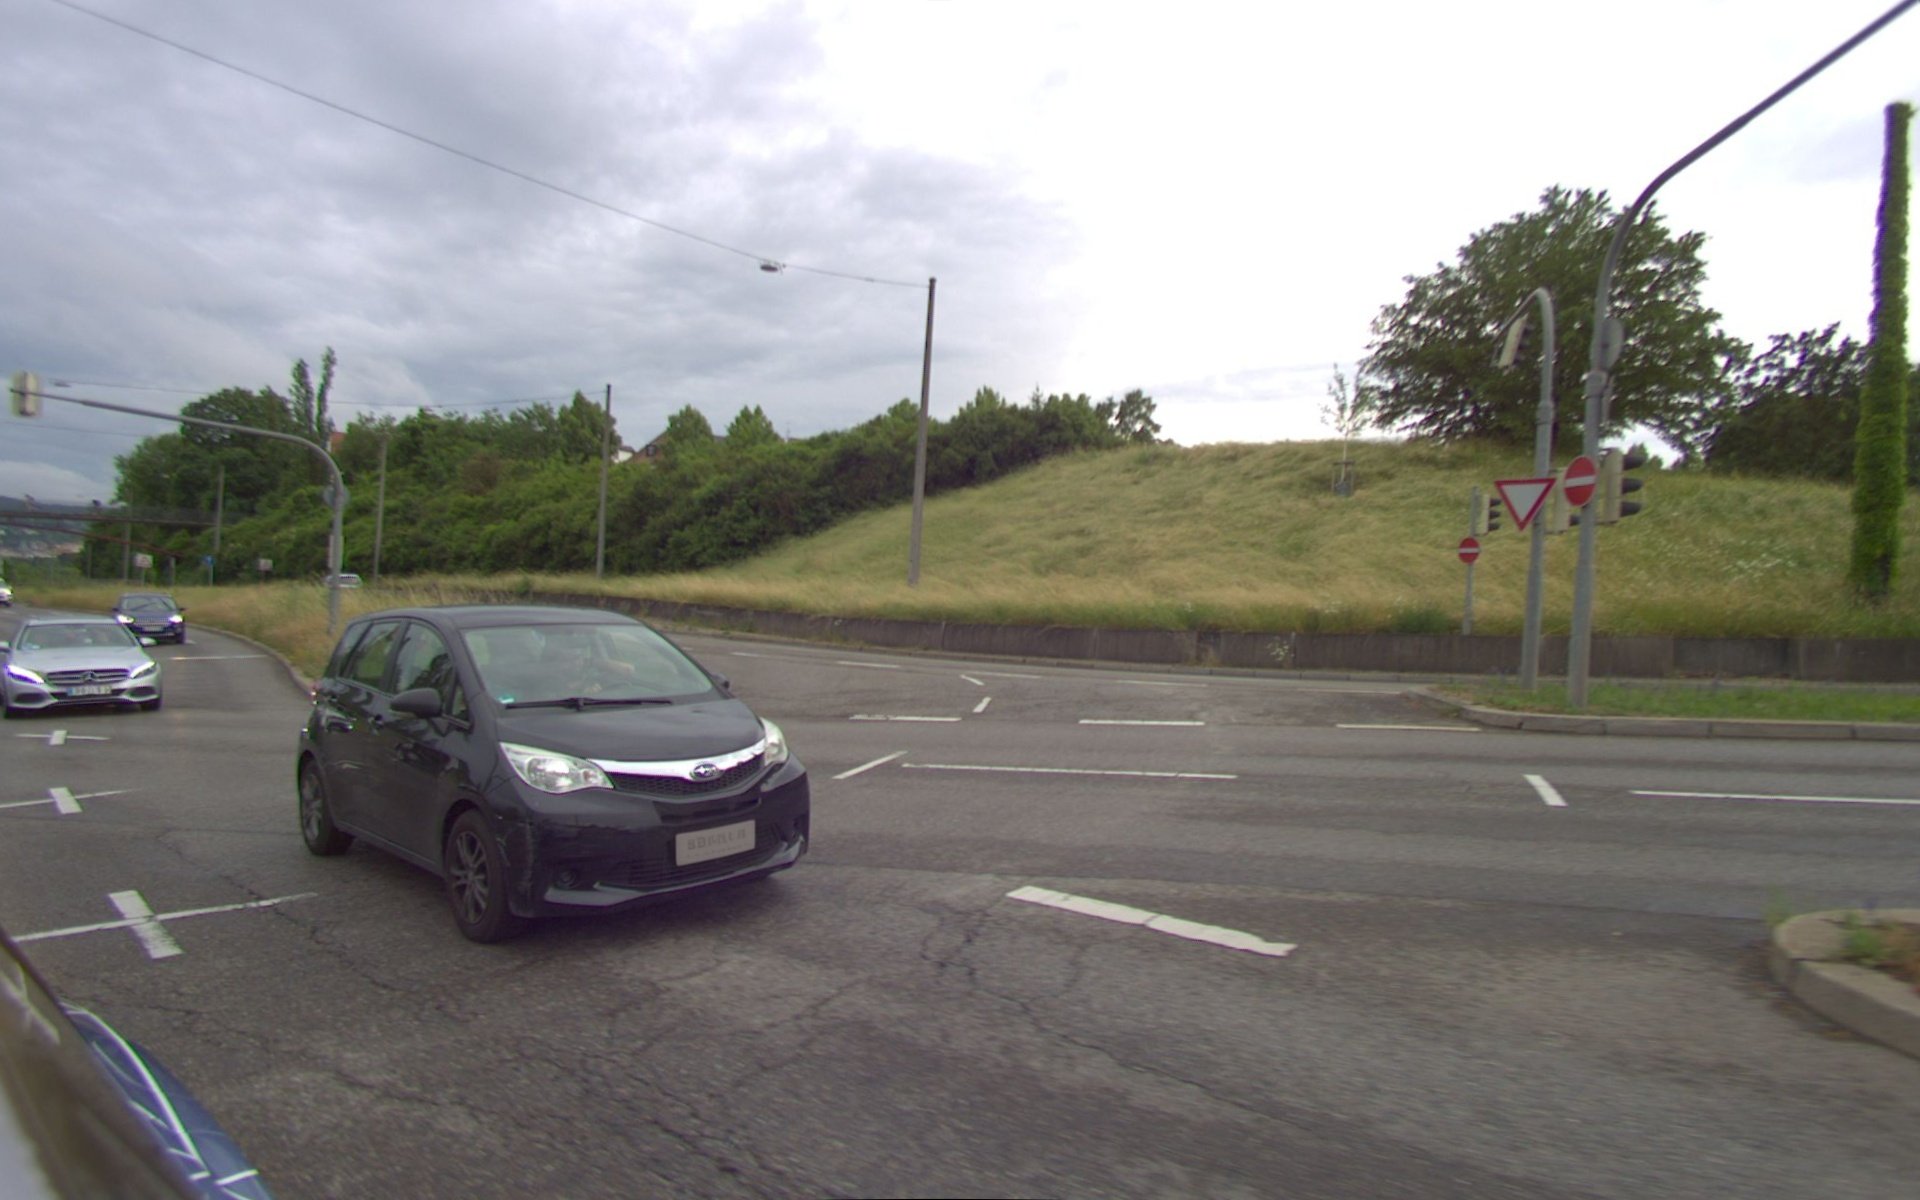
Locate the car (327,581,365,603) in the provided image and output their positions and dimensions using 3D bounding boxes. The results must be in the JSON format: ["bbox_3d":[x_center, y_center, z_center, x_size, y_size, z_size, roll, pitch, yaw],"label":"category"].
[{"bbox_3d":[-41.260,-0.534,67.964,1.538,1.443,3.233,-2,2,-44],"label":"car"}]

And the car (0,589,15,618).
[{"bbox_3d":[-59.710,0.222,61.890,4.279,1.705,1.976,-1,0,35],"label":"car"}]

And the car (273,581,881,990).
[{"bbox_3d":[-2.480,0.797,5.978,4.043,1.577,1.776,-2,-3,43],"label":"car"}]

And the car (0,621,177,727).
[{"bbox_3d":[-13.954,1.084,15.980,1.971,1.419,4.527,0,-2,-45],"label":"car"}]

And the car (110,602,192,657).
[{"bbox_3d":[-27.399,0.952,34.212,1.899,1.748,4.030,0,0,-43],"label":"car"}]
